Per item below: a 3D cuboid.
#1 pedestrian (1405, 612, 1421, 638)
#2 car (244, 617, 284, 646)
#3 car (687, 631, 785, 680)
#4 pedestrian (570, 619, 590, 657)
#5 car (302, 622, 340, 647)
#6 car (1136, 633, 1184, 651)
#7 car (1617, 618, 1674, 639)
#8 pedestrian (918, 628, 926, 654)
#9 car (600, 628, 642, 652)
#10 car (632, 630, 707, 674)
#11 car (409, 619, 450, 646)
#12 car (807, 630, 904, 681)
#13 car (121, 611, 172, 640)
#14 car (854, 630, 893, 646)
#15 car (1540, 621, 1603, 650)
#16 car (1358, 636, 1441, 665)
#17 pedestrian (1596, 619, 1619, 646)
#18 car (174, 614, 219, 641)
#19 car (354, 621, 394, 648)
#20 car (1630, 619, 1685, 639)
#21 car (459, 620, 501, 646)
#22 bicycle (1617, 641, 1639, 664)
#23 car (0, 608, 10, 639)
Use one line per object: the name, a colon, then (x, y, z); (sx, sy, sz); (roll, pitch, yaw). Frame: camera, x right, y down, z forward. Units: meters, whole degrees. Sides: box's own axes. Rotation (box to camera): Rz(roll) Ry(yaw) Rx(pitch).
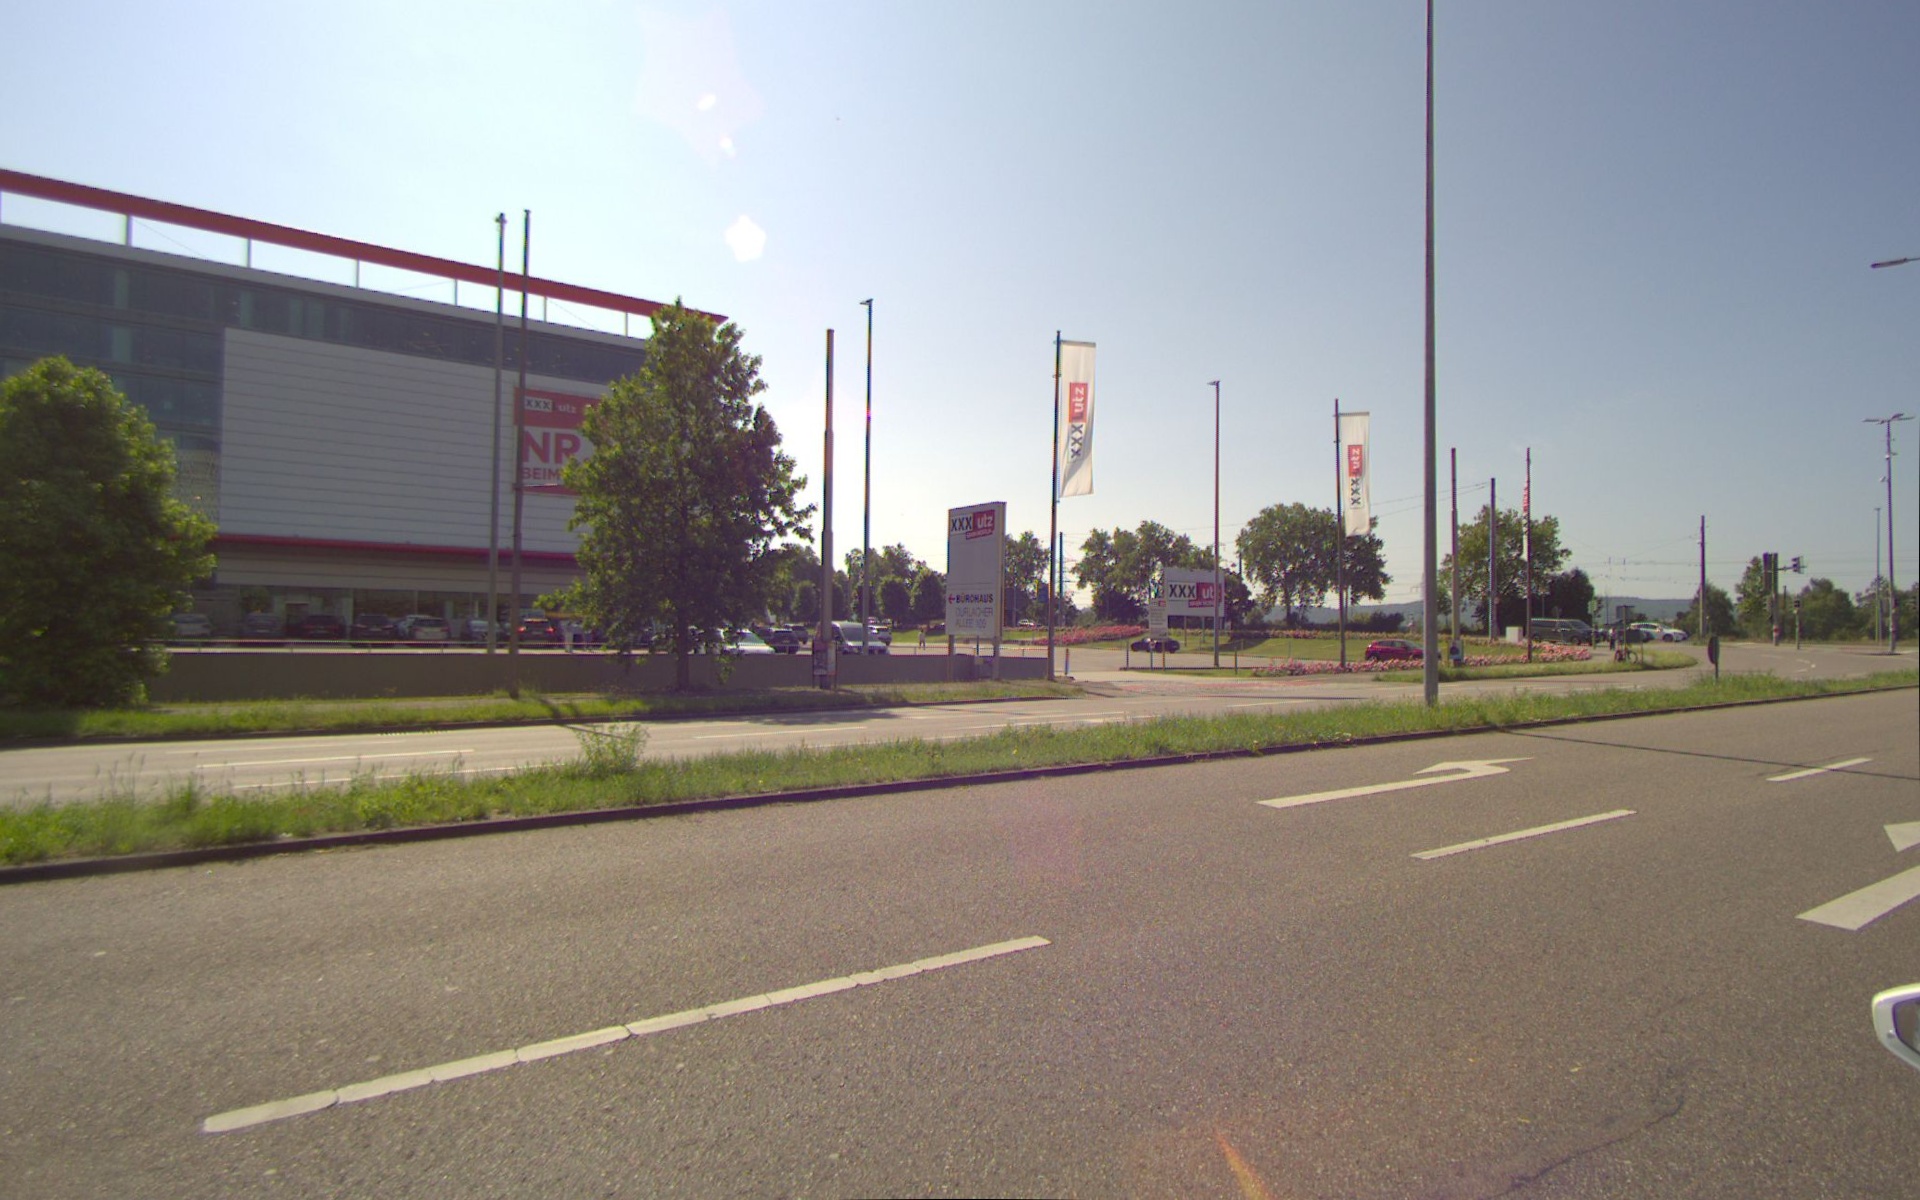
pedestrian: (35.797, 1.955, 79.394); (0.907, 1.998, 0.713); (2, -2, -30)
car: (-33.727, 1.527, 48.671); (1.501, 1.347, 3.068); (3, -3, -35)
car: (-8.186, 1.983, 36.442); (1.854, 1.648, 4.383); (3, -3, -36)
pedestrian: (-20.504, 2.068, 54.239); (1.006, 2.040, 0.860); (0, -2, -20)
car: (-34.587, 1.867, 54.377); (1.590, 1.244, 3.068); (3, -3, -35)
car: (16.568, 3.482, 83.439); (1.712, 1.347, 3.822); (3, -3, -35)
car: (52.590, 2.174, 77.134); (1.396, 1.519, 3.363); (3, -3, -36)
pedestrian: (-2.766, 2.983, 72.973); (0.489, 1.920, 0.783); (0, -2, -4)
car: (-19.804, 2.343, 58.657); (1.501, 1.347, 3.068); (3, -3, -35)
car: (-14.249, 2.516, 49.113); (2.011, 2.040, 4.637); (1, -3, -37)
car: (-27.905, 1.724, 52.784); (1.501, 1.347, 3.068); (3, -3, -35)
car: (-4.132, 2.112, 39.078); (1.926, 1.866, 4.385); (2, -3, -34)
car: (-40.448, 1.267, 50.013); (1.614, 1.347, 3.642); (3, -3, -35)
car: (-7.437, 3.235, 85.802); (1.734, 1.347, 3.639); (3, -3, -35)
car: (45.216, 2.590, 74.375); (1.785, 1.951, 3.991); (0, 0, -12)
car: (26.095, 2.984, 59.746); (1.811, 1.626, 4.151); (3, -3, -38)
pedestrian: (41.762, 2.101, 64.808); (0.892, 1.729, 0.838); (0, -2, -22)
car: (-35.921, 1.309, 47.292); (1.466, 1.214, 3.476); (3, -3, -35)
car: (-29.755, 1.741, 50.946); (1.500, 1.310, 3.068); (3, -3, -34)
car: (54.992, 2.298, 79.272); (1.397, 1.519, 3.318); (3, -3, -37)
car: (-25.863, 1.787, 54.090); (1.501, 1.347, 3.068); (3, -3, -35)
bicycle: (31.359, 2.455, 47.156); (1.629, 1.036, 0.328); (4, -4, -38)
car: (-42.451, 0.986, 43.408); (1.501, 1.347, 3.068); (3, -3, -35)
